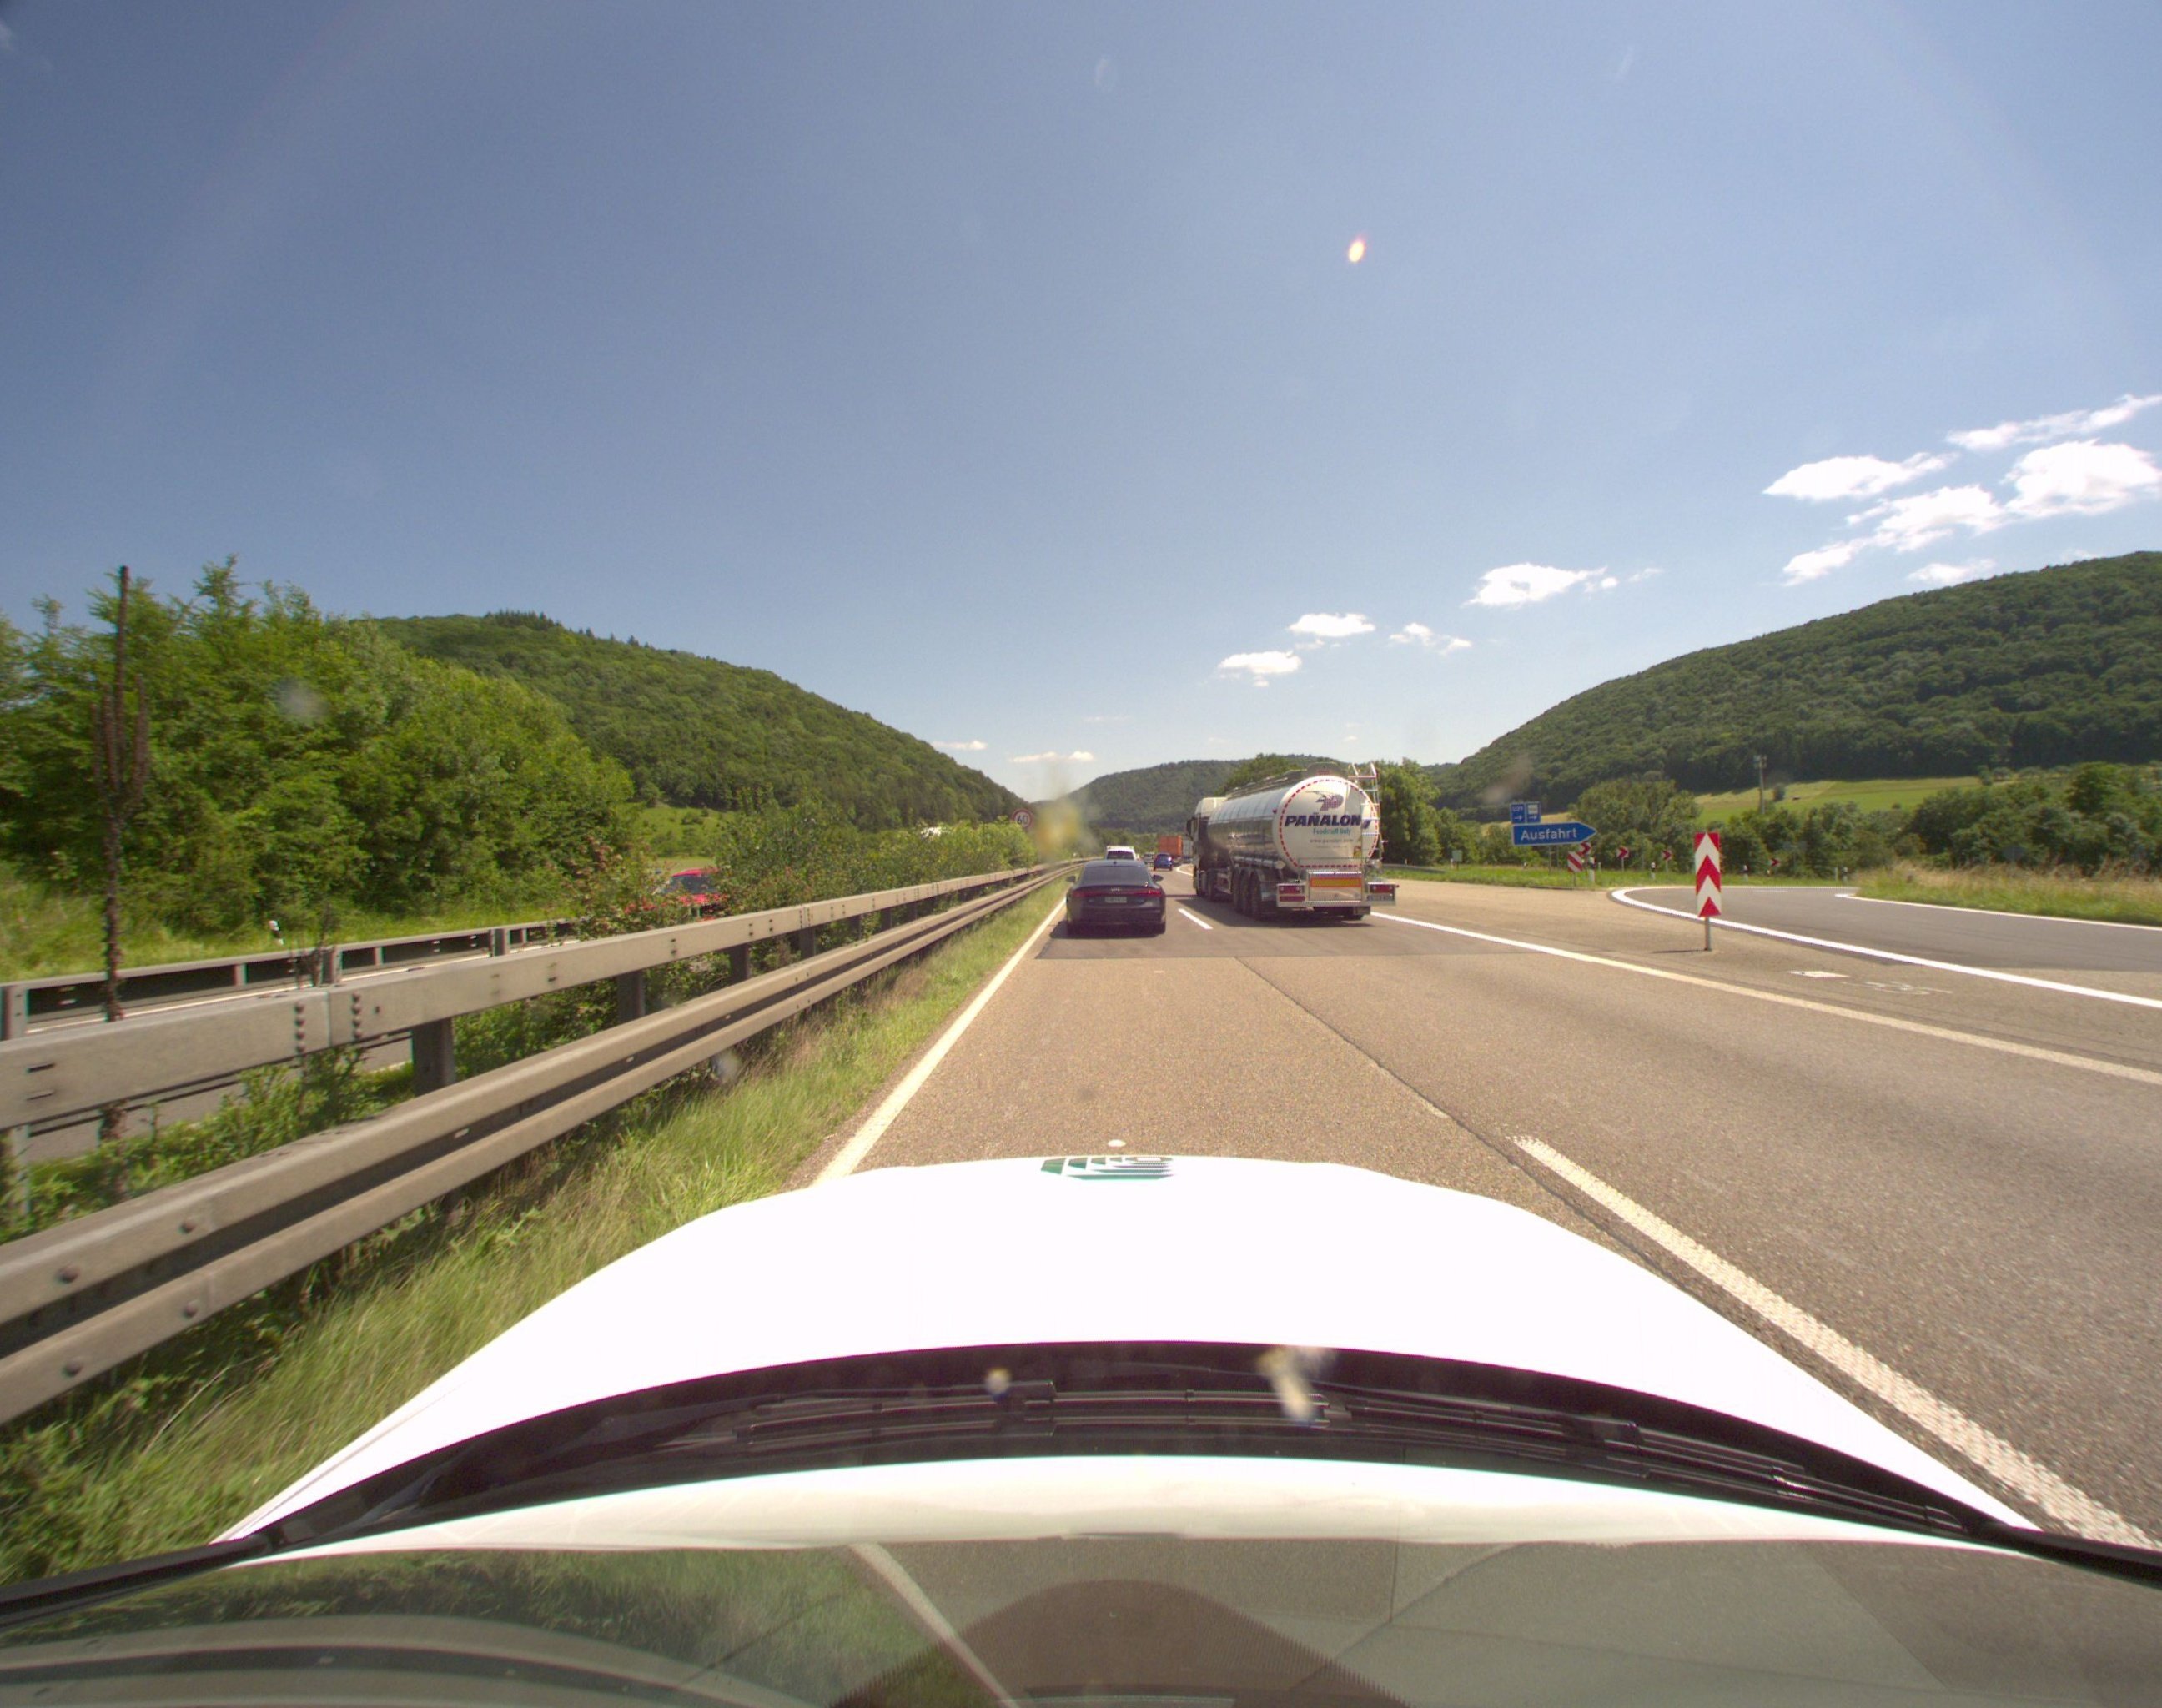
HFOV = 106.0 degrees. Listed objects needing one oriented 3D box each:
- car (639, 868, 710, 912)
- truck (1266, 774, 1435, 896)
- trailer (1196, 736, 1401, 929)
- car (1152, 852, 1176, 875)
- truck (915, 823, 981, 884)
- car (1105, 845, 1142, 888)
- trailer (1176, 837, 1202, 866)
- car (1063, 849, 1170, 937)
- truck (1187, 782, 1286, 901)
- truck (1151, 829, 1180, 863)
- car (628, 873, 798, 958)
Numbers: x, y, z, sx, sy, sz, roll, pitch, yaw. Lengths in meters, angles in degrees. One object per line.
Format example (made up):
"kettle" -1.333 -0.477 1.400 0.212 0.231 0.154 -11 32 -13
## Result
"car" -18.780 1.631 37.788 1.808 1.838 3.986 -2 0 -10
"truck" 10.721 -0.651 34.755 2.806 4.003 14.965 -2 0 3
"trailer" 5.143 -0.420 22.068 2.529 3.735 11.894 -2 0 1
"car" 7.726 0.875 76.283 1.985 2.002 4.003 -3 0 3
"truck" -9.533 -0.031 59.770 2.416 3.899 12.285 -2 0 1
"car" 1.904 0.551 37.416 1.570 1.833 4.002 -2 0 2
"trailer" 17.873 -0.390 135.226 3.004 4.382 10.988 -2 0 1
"car" 0.587 0.695 16.502 1.844 1.488 4.080 -2 0 -2
"truck" 5.332 -0.404 28.753 2.502 3.758 5.247 -2 0 1
"truck" 11.021 -1.001 107.046 2.806 4.003 14.965 -2 0 3
"car" -7.543 1.184 17.144 1.641 1.442 4.001 -2 0 1
